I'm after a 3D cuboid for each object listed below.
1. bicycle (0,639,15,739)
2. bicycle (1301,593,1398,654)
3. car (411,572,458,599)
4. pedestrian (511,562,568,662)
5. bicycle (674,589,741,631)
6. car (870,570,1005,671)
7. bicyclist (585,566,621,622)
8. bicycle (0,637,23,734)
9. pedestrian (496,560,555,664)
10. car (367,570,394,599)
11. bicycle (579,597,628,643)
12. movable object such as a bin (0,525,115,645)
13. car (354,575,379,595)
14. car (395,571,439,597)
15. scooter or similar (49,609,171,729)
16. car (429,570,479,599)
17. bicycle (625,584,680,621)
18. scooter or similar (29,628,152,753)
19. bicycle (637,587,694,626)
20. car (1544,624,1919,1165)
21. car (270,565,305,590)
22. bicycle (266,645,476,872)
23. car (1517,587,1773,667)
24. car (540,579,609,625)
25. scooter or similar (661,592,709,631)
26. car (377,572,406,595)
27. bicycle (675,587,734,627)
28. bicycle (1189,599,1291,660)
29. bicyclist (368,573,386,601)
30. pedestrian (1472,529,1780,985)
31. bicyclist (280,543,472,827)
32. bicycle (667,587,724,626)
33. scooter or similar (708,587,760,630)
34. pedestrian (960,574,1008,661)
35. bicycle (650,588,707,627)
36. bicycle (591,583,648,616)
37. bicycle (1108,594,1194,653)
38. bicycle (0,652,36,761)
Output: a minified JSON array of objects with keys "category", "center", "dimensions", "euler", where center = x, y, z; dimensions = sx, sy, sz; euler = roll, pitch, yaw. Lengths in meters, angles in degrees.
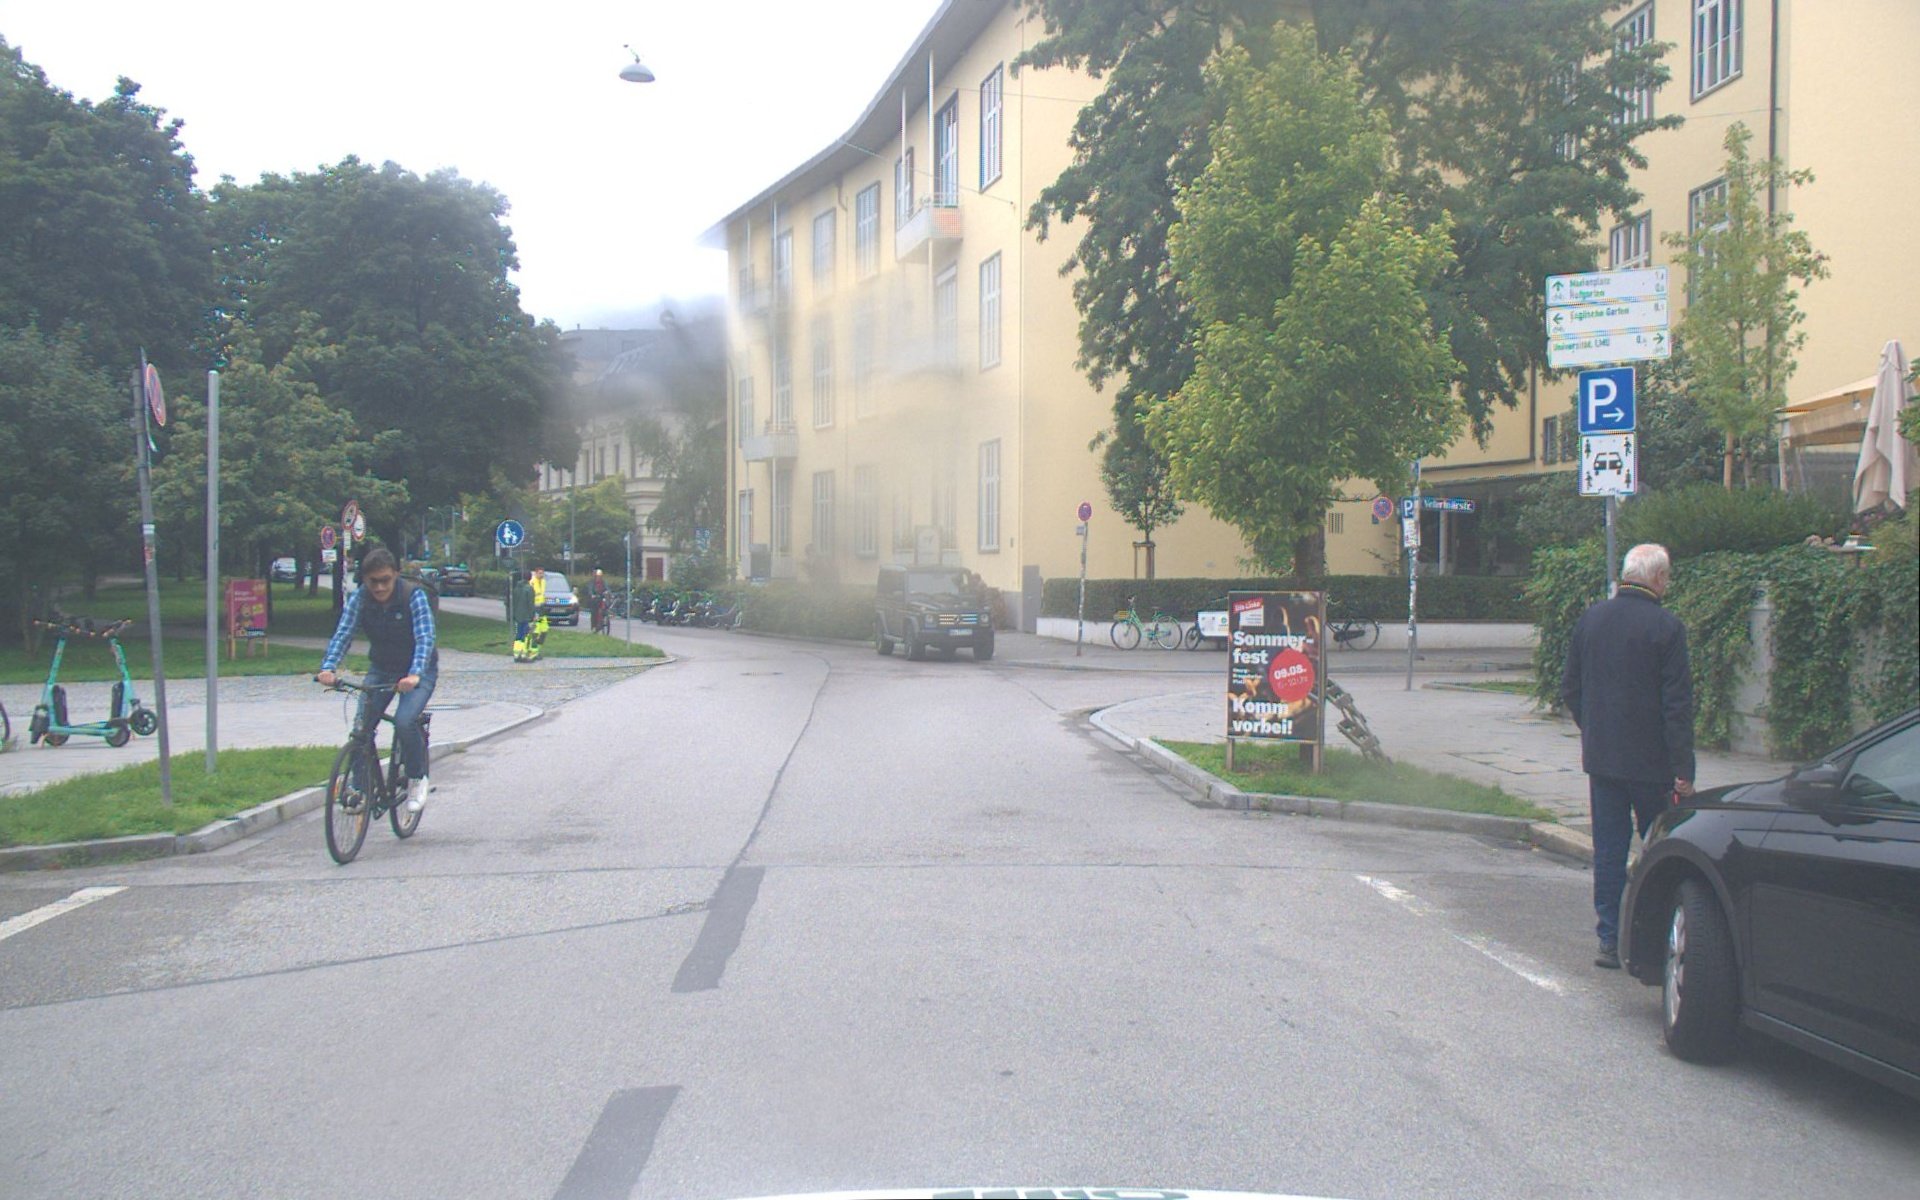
[{"category":"bicycle","center":[-10.444,0.917,17.359],"dimensions":[1.552,1.008,0.300],"euler":[0,0,36]},{"category":"bicycle","center":[8.122,0.483,34.506],"dimensions":[1.882,1.222,0.595],"euler":[1,0,1]},{"category":"car","center":[-32.166,-0.859,101.188],"dimensions":[1.972,1.634,3.961],"euler":[0,0,-29]},{"category":"pedestrian","center":[-8.718,0.240,34.342],"dimensions":[0.912,2.049,0.957],"euler":[0,0,1]},{"category":"bicycle","center":[-8.218,0.319,53.885],"dimensions":[2.136,1.328,0.724],"euler":[0,0,-41]},{"category":"car","center":[-0.554,0.384,35.651],"dimensions":[1.734,1.907,4.361],"euler":[4,0,-16]},{"category":"bicyclist","center":[-9.981,-0.166,46.227],"dimensions":[0.735,1.547,0.936],"euler":[-1,0,-30]},{"category":"bicycle","center":[-10.678,0.908,17.914],"dimensions":[1.552,1.008,0.300],"euler":[0,0,36]},{"category":"pedestrian","center":[-8.710,0.236,33.190],"dimensions":[0.912,2.049,0.957],"euler":[0,0,1]},{"category":"car","center":[-44.914,-1.192,128.226],"dimensions":[1.964,2.197,3.977],"euler":[0,0,-20]},{"category":"bicycle","center":[-9.965,0.548,46.225],"dimensions":[0.735,1.236,2.123],"euler":[-1,0,-30]},{"category":"movable object such as a bin","center":[-26.429,-0.423,46.840],"dimensions":[1.957,3.269,3.991],"euler":[0,0,31]},{"category":"car","center":[-49.712,-1.265,138.608],"dimensions":[1.964,1.634,3.977],"euler":[0,0,-20]},{"category":"car","center":[-34.871,-1.001,106.084],"dimensions":[1.972,1.634,3.961],"euler":[0,0,-29]},{"category":"scooter or similar","center":[-8.933,0.708,17.411],"dimensions":[0.338,1.209,1.115],"euler":[1,1,35]},{"category":"car","center":[-29.481,-0.875,96.287],"dimensions":[1.972,1.634,3.961],"euler":[0,0,-29]},{"category":"bicycle","center":[-11.159,0.088,60.094],"dimensions":[0.719,1.328,2.150],"euler":[0,1,32]},{"category":"scooter or similar","center":[-8.738,0.899,16.628],"dimensions":[1.092,1.209,0.345],"euler":[1,0,7]},{"category":"bicycle","center":[-10.384,0.222,58.387],"dimensions":[0.719,1.328,2.150],"euler":[0,1,32]},{"category":"car","center":[3.448,0.882,4.657],"dimensions":[1.645,1.413,4.300],"euler":[4,0,-6]},{"category":"car","center":[-47.486,-1.546,116.763],"dimensions":[1.970,1.720,3.964],"euler":[-1,0,-27]},{"category":"bicycle","center":[-3.505,0.895,10.023],"dimensions":[0.657,1.179,2.002],"euler":[1,0,-4]},{"category":"car","center":[12.921,0.517,31.359],"dimensions":[4.159,1.471,1.697],"euler":[0,-1,-1]},{"category":"car","center":[-13.073,0.046,55.968],"dimensions":[1.885,1.496,3.979],"euler":[0,1,-19]},{"category":"scooter or similar","center":[-9.502,0.388,57.168],"dimensions":[0.718,1.328,1.727],"euler":[0,0,29]},{"category":"car","center":[-41.241,-1.188,119.857],"dimensions":[1.964,1.634,3.977],"euler":[0,0,-20]},{"category":"bicycle","center":[-8.633,0.231,55.974],"dimensions":[0.719,1.328,2.150],"euler":[0,1,32]},{"category":"bicycle","center":[5.880,0.606,34.761],"dimensions":[2.024,1.222,0.595],"euler":[1,0,20]},{"category":"bicyclist","center":[-31.463,-0.711,89.219],"dimensions":[0.786,1.496,0.885],"euler":[0,0,-27]},{"category":"pedestrian","center":[2.947,0.638,7.324],"dimensions":[0.948,1.832,0.922],"euler":[2,-1,-40]},{"category":"bicyclist","center":[-3.504,0.491,10.010],"dimensions":[0.846,1.636,0.946],"euler":[1,0,-4]},{"category":"bicycle","center":[-9.074,0.210,56.807],"dimensions":[0.719,1.328,2.150],"euler":[0,1,32]},{"category":"scooter or similar","center":[-7.238,0.265,53.023],"dimensions":[0.717,1.328,2.156],"euler":[0,0,21]},{"category":"pedestrian","center":[0.510,0.364,35.753],"dimensions":[0.860,1.855,0.795],"euler":[0,0,-15]},{"category":"bicycle","center":[-9.820,0.261,57.722],"dimensions":[0.719,1.328,2.150],"euler":[0,1,32]},{"category":"bicycle","center":[-13.562,-0.021,65.865],"dimensions":[2.117,1.328,0.730],"euler":[0,0,-21]},{"category":"bicycle","center":[4.156,0.498,36.129],"dimensions":[1.894,1.222,0.591],"euler":[1,1,43]},{"category":"bicycle","center":[-9.419,1.027,16.174],"dimensions":[0.535,0.991,1.146],"euler":[0,0,-23]}]
